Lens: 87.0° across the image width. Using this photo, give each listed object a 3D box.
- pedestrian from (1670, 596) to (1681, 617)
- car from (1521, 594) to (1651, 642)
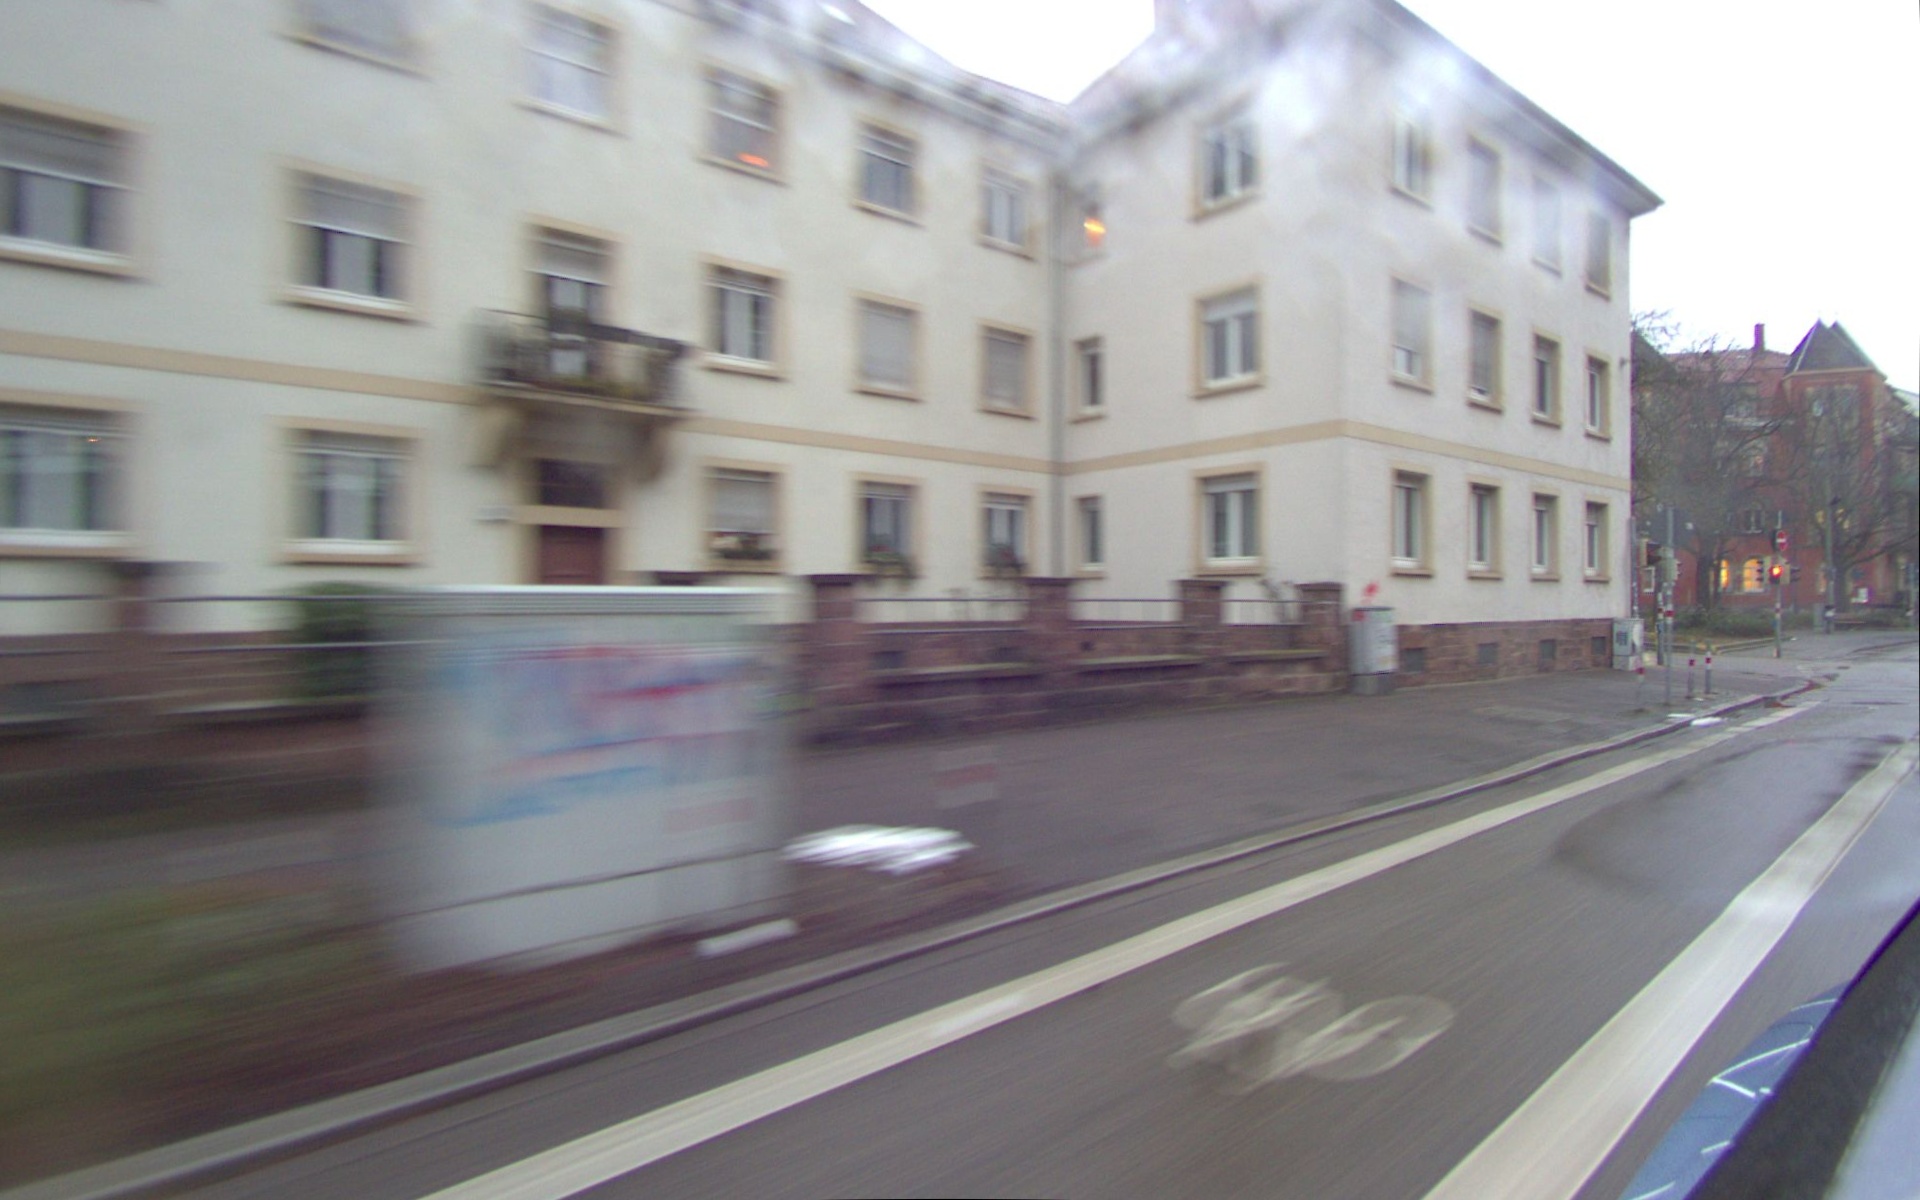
[{"bbox_3d":[47.558,0.435,67.265,0.544,1.333,0.599,-2,-2,40],"label":"pedestrian"},{"bbox_3d":[22.364,0.588,36.402,1.865,1.529,4.751,0,1,3],"label":"car"}]
